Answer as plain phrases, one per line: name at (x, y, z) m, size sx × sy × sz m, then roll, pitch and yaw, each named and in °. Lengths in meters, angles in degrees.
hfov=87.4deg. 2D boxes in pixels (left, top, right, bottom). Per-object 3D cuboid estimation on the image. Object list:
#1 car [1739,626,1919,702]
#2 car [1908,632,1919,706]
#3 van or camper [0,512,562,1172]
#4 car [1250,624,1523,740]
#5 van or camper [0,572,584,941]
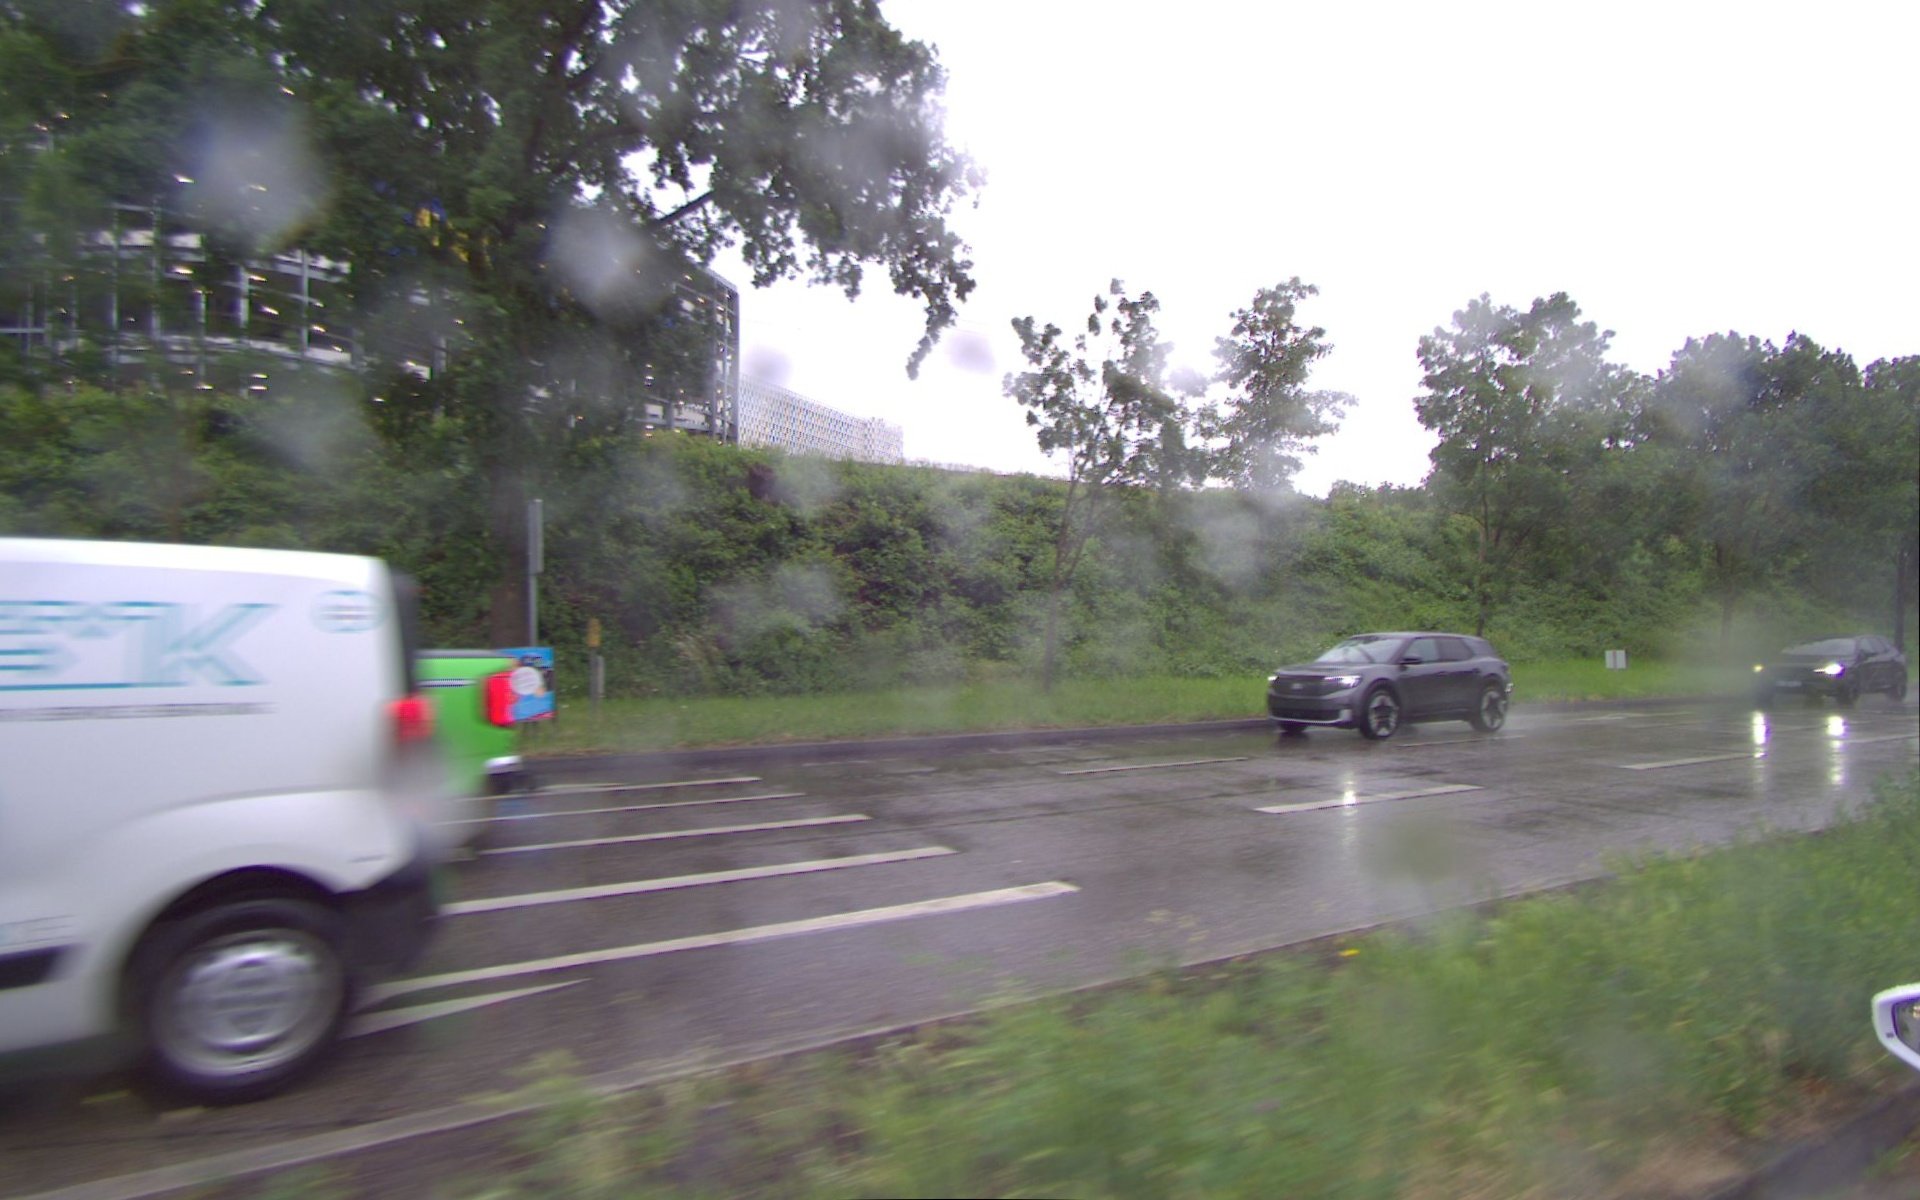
car at (21.246, 1.487, 24.490) m, size 4.625 × 1.682 × 2.027 m, roll 1°, pitch -2°, yaw -31°
car at (23.384, 1.509, 22.473) m, size 4.656 × 1.634 × 1.890 m, roll 1°, pitch -3°, yaw -30°
van or camper at (-3.490, 0.677, 3.159) m, size 3.954 × 1.764 × 1.720 m, roll 1°, pitch -3°, yaw -31°
car at (6.916, 1.222, 16.198) m, size 4.355 × 1.634 × 1.889 m, roll 1°, pitch -2°, yaw -31°
van or camper at (-4.588, 0.809, 5.995) m, size 4.172 × 1.808 × 1.692 m, roll 1°, pitch -3°, yaw -31°
